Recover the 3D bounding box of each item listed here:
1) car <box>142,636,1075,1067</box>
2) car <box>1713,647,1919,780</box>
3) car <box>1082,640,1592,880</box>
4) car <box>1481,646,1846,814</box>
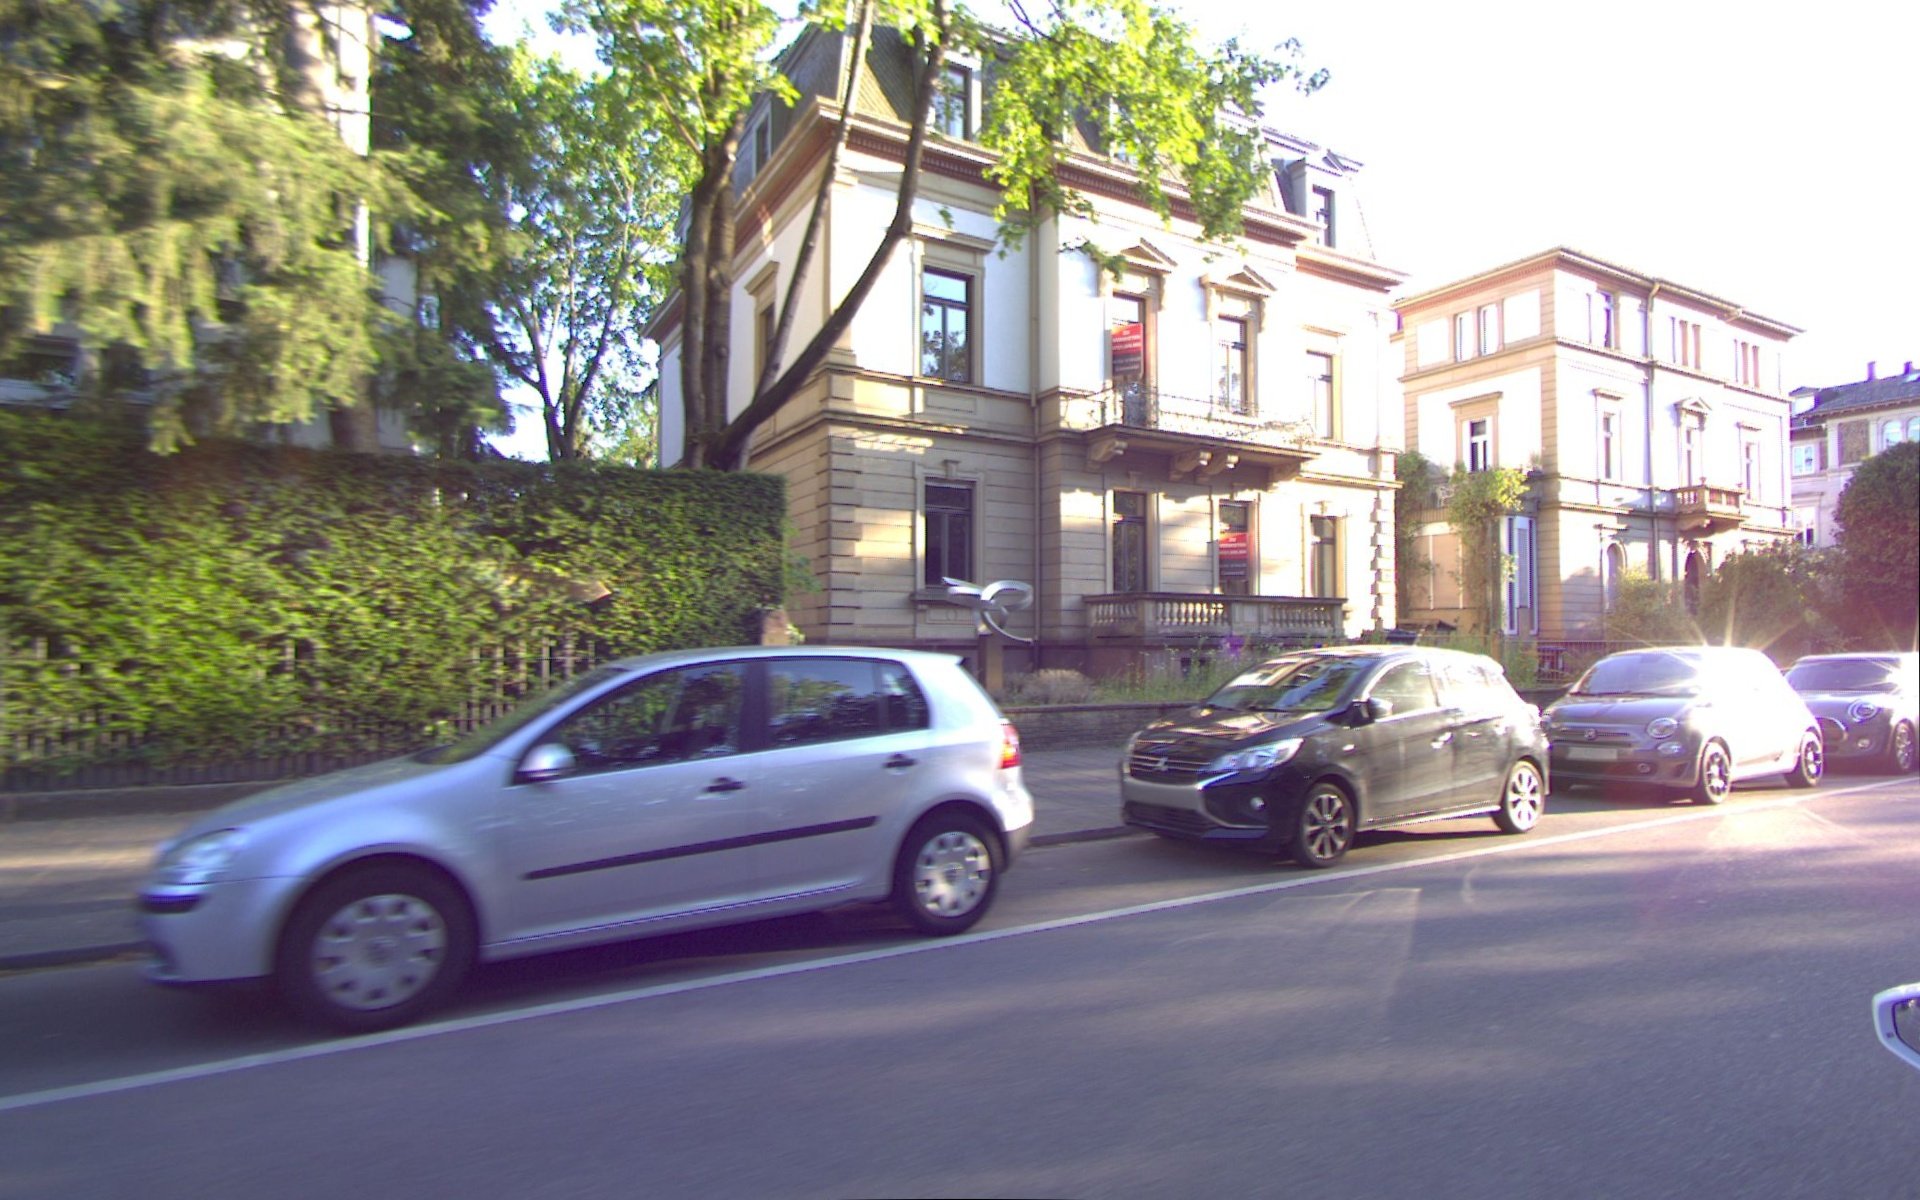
[{"bbox_3d":[-1.485,0.953,5.199,3.988,1.485,1.606,2,-3,-30],"label":"car"},{"bbox_3d":[11.618,1.354,12.948,3.988,1.485,1.606,2,-3,-30],"label":"car"},{"bbox_3d":[3.050,1.092,7.954,3.988,1.485,1.607,2,-4,-30],"label":"car"},{"bbox_3d":[7.474,1.234,10.600,3.988,1.485,1.606,2,-3,-30],"label":"car"}]
